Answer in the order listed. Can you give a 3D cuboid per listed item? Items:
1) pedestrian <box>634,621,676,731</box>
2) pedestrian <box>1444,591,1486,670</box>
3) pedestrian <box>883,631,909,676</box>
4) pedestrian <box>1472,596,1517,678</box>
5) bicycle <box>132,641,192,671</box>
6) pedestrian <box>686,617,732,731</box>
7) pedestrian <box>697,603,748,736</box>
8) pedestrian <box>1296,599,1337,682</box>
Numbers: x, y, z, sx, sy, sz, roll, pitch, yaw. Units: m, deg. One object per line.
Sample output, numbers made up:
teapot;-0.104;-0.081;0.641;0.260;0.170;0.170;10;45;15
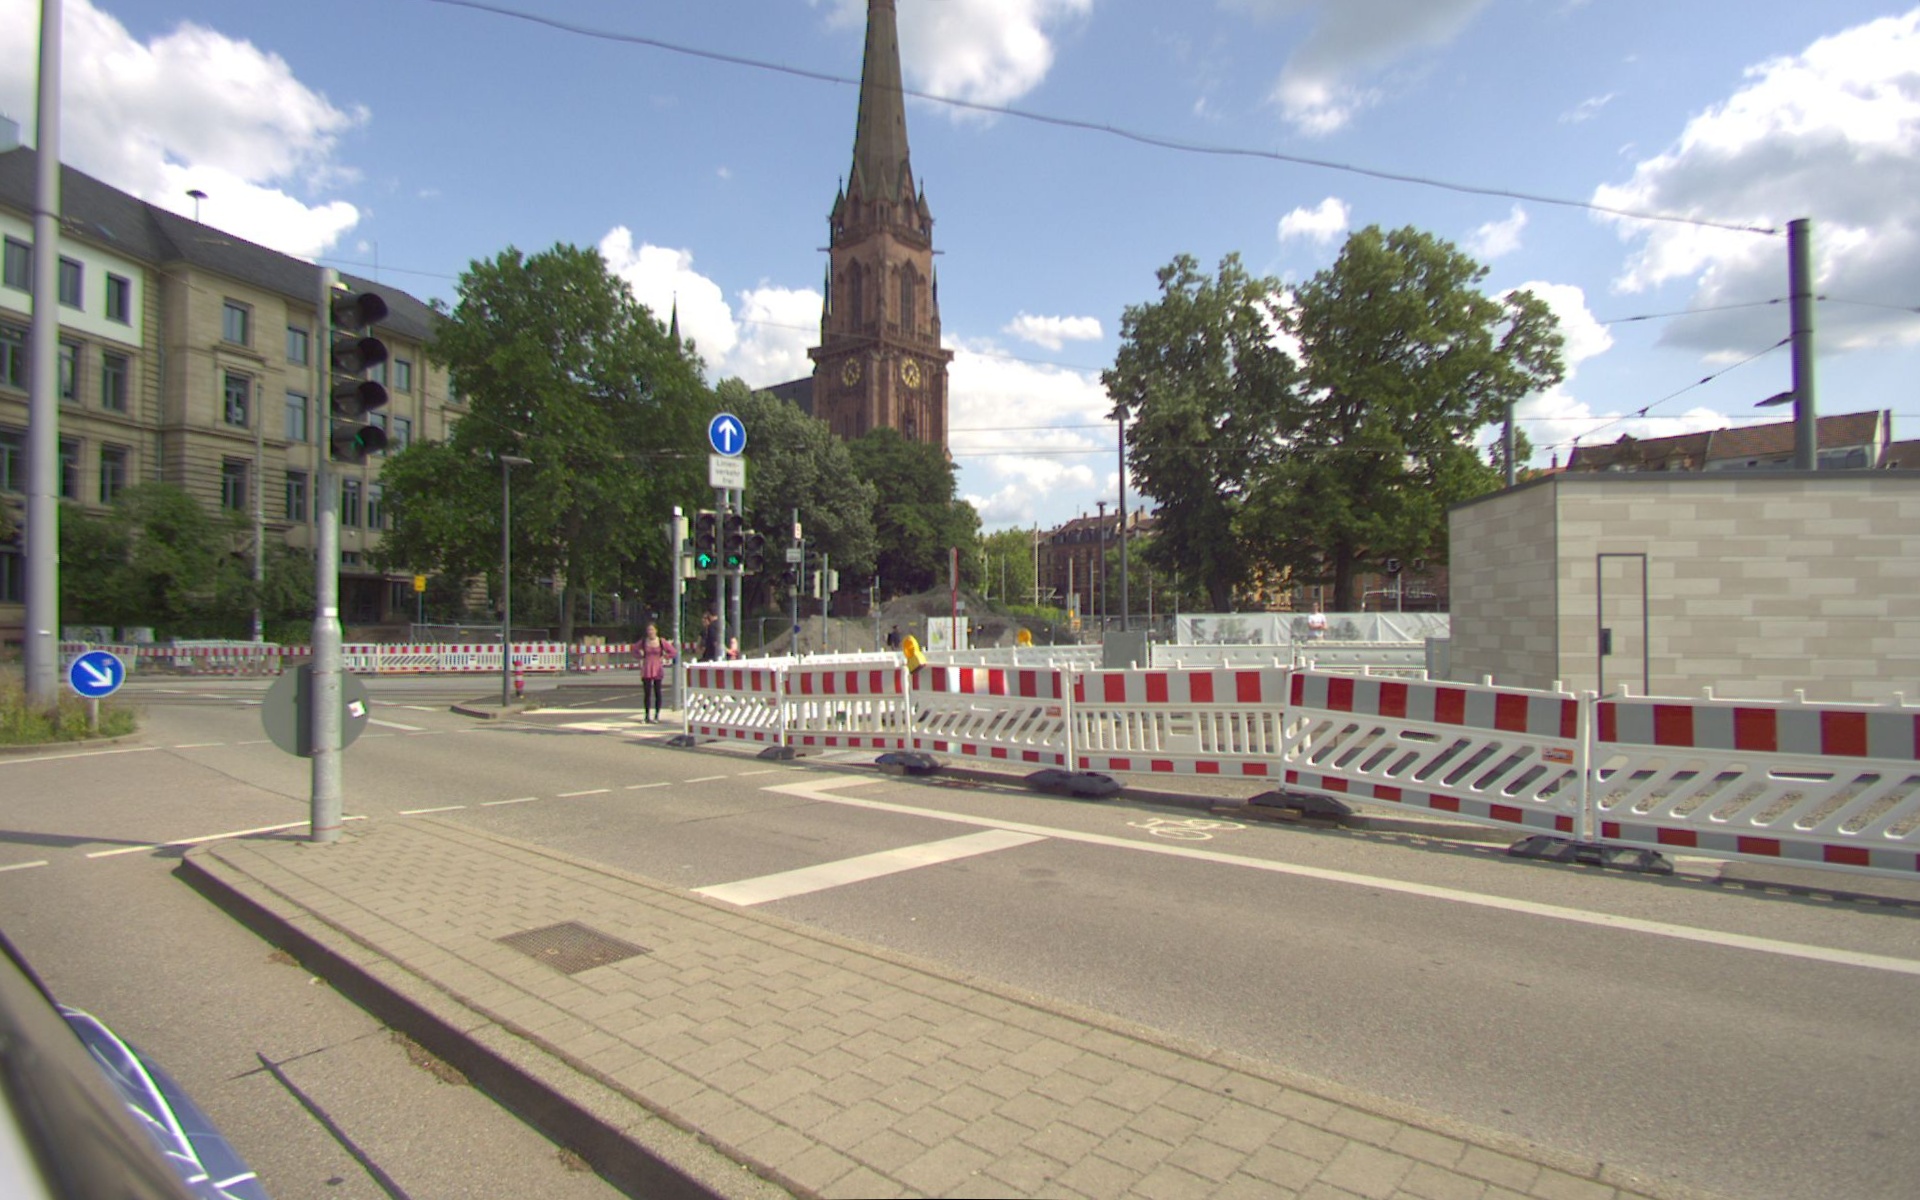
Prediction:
pedestrian;-4.882;1.205;16.209;0.612;1.720;0.615;0;-2;-14
pedestrian;13.278;0.797;26.634;0.722;2.029;0.941;0;-1;8
pedestrian;-2.392;1.981;37.863;0.784;1.665;0.576;-1;-2;23
pedestrian;13.505;0.915;25.589;0.722;2.029;0.941;0;-1;8
bicycle;-33.287;2.310;42.266;0.721;1.177;2.118;0;-1;4
pedestrian;-3.941;1.147;15.902;0.620;1.749;0.404;-2;-3;39
pedestrian;-3.508;1.004;14.947;0.602;1.899;0.796;0;-2;-23
pedestrian;8.839;0.993;25.134;0.790;2.029;0.815;0;-1;8
